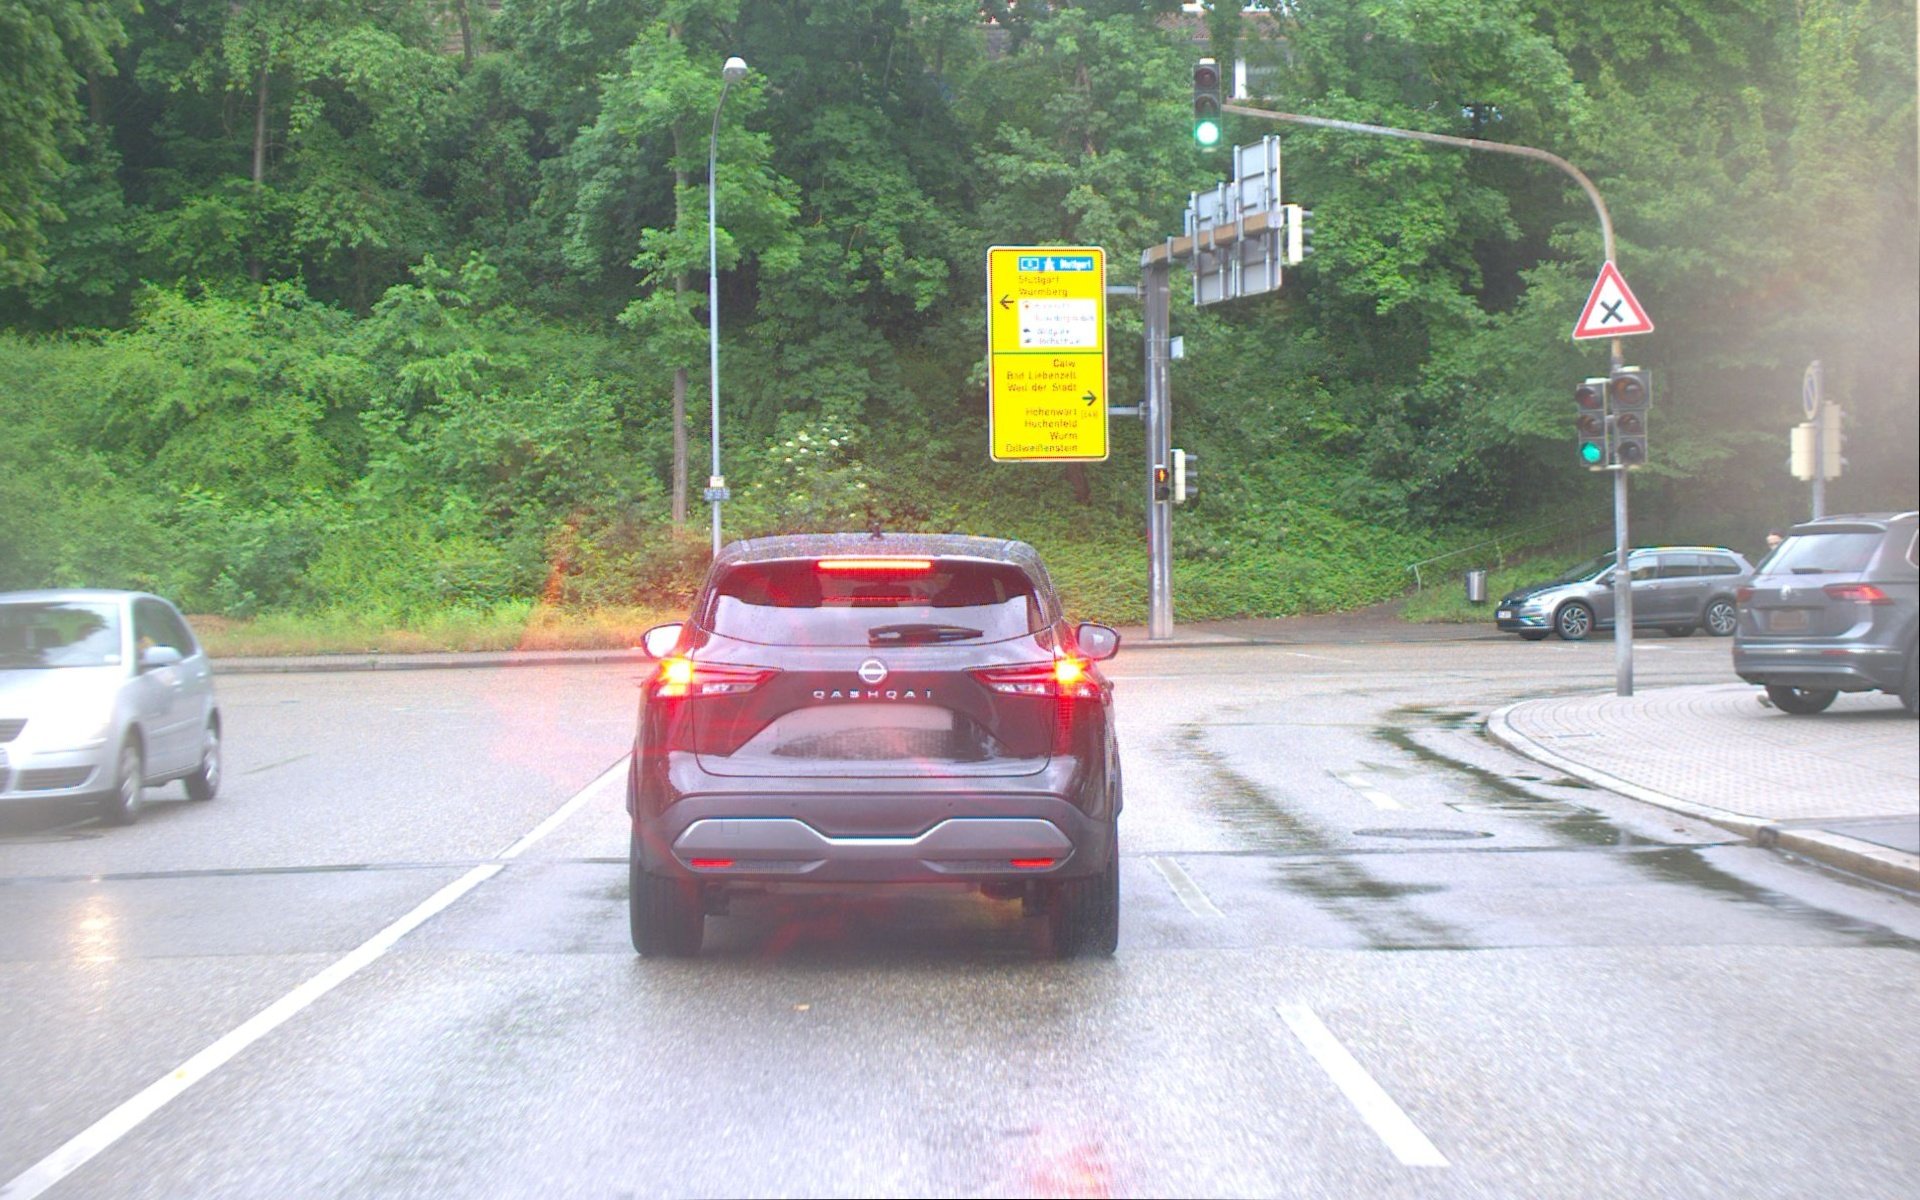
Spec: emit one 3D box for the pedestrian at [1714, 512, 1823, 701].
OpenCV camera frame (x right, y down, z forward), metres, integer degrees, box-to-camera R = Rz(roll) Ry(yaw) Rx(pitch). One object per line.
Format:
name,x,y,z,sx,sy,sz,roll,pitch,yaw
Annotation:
pedestrian,7.012,0.048,29.855,0.657,1.595,0.796,-3,1,-3

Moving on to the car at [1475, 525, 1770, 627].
car,10.873,-0.398,56.528,4.323,1.497,1.884,-2,1,-12

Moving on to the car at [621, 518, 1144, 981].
car,-0.301,0.504,13.987,1.811,1.597,4.000,0,0,-1

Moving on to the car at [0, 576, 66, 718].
car,-11.792,0.537,36.923,4.422,1.454,1.731,-1,0,35

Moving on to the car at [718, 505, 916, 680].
car,-1.355,-0.123,33.852,1.811,1.597,4.001,1,2,-1

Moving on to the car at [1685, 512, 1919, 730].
car,8.305,0.088,28.146,4.366,1.643,1.884,-2,1,-26

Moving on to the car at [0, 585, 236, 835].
car,-5.808,0.641,21.818,1.626,1.415,3.686,-1,1,0

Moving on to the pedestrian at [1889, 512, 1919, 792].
pedestrian,6.103,0.299,20.656,0.761,1.671,0.781,-3,2,-1
